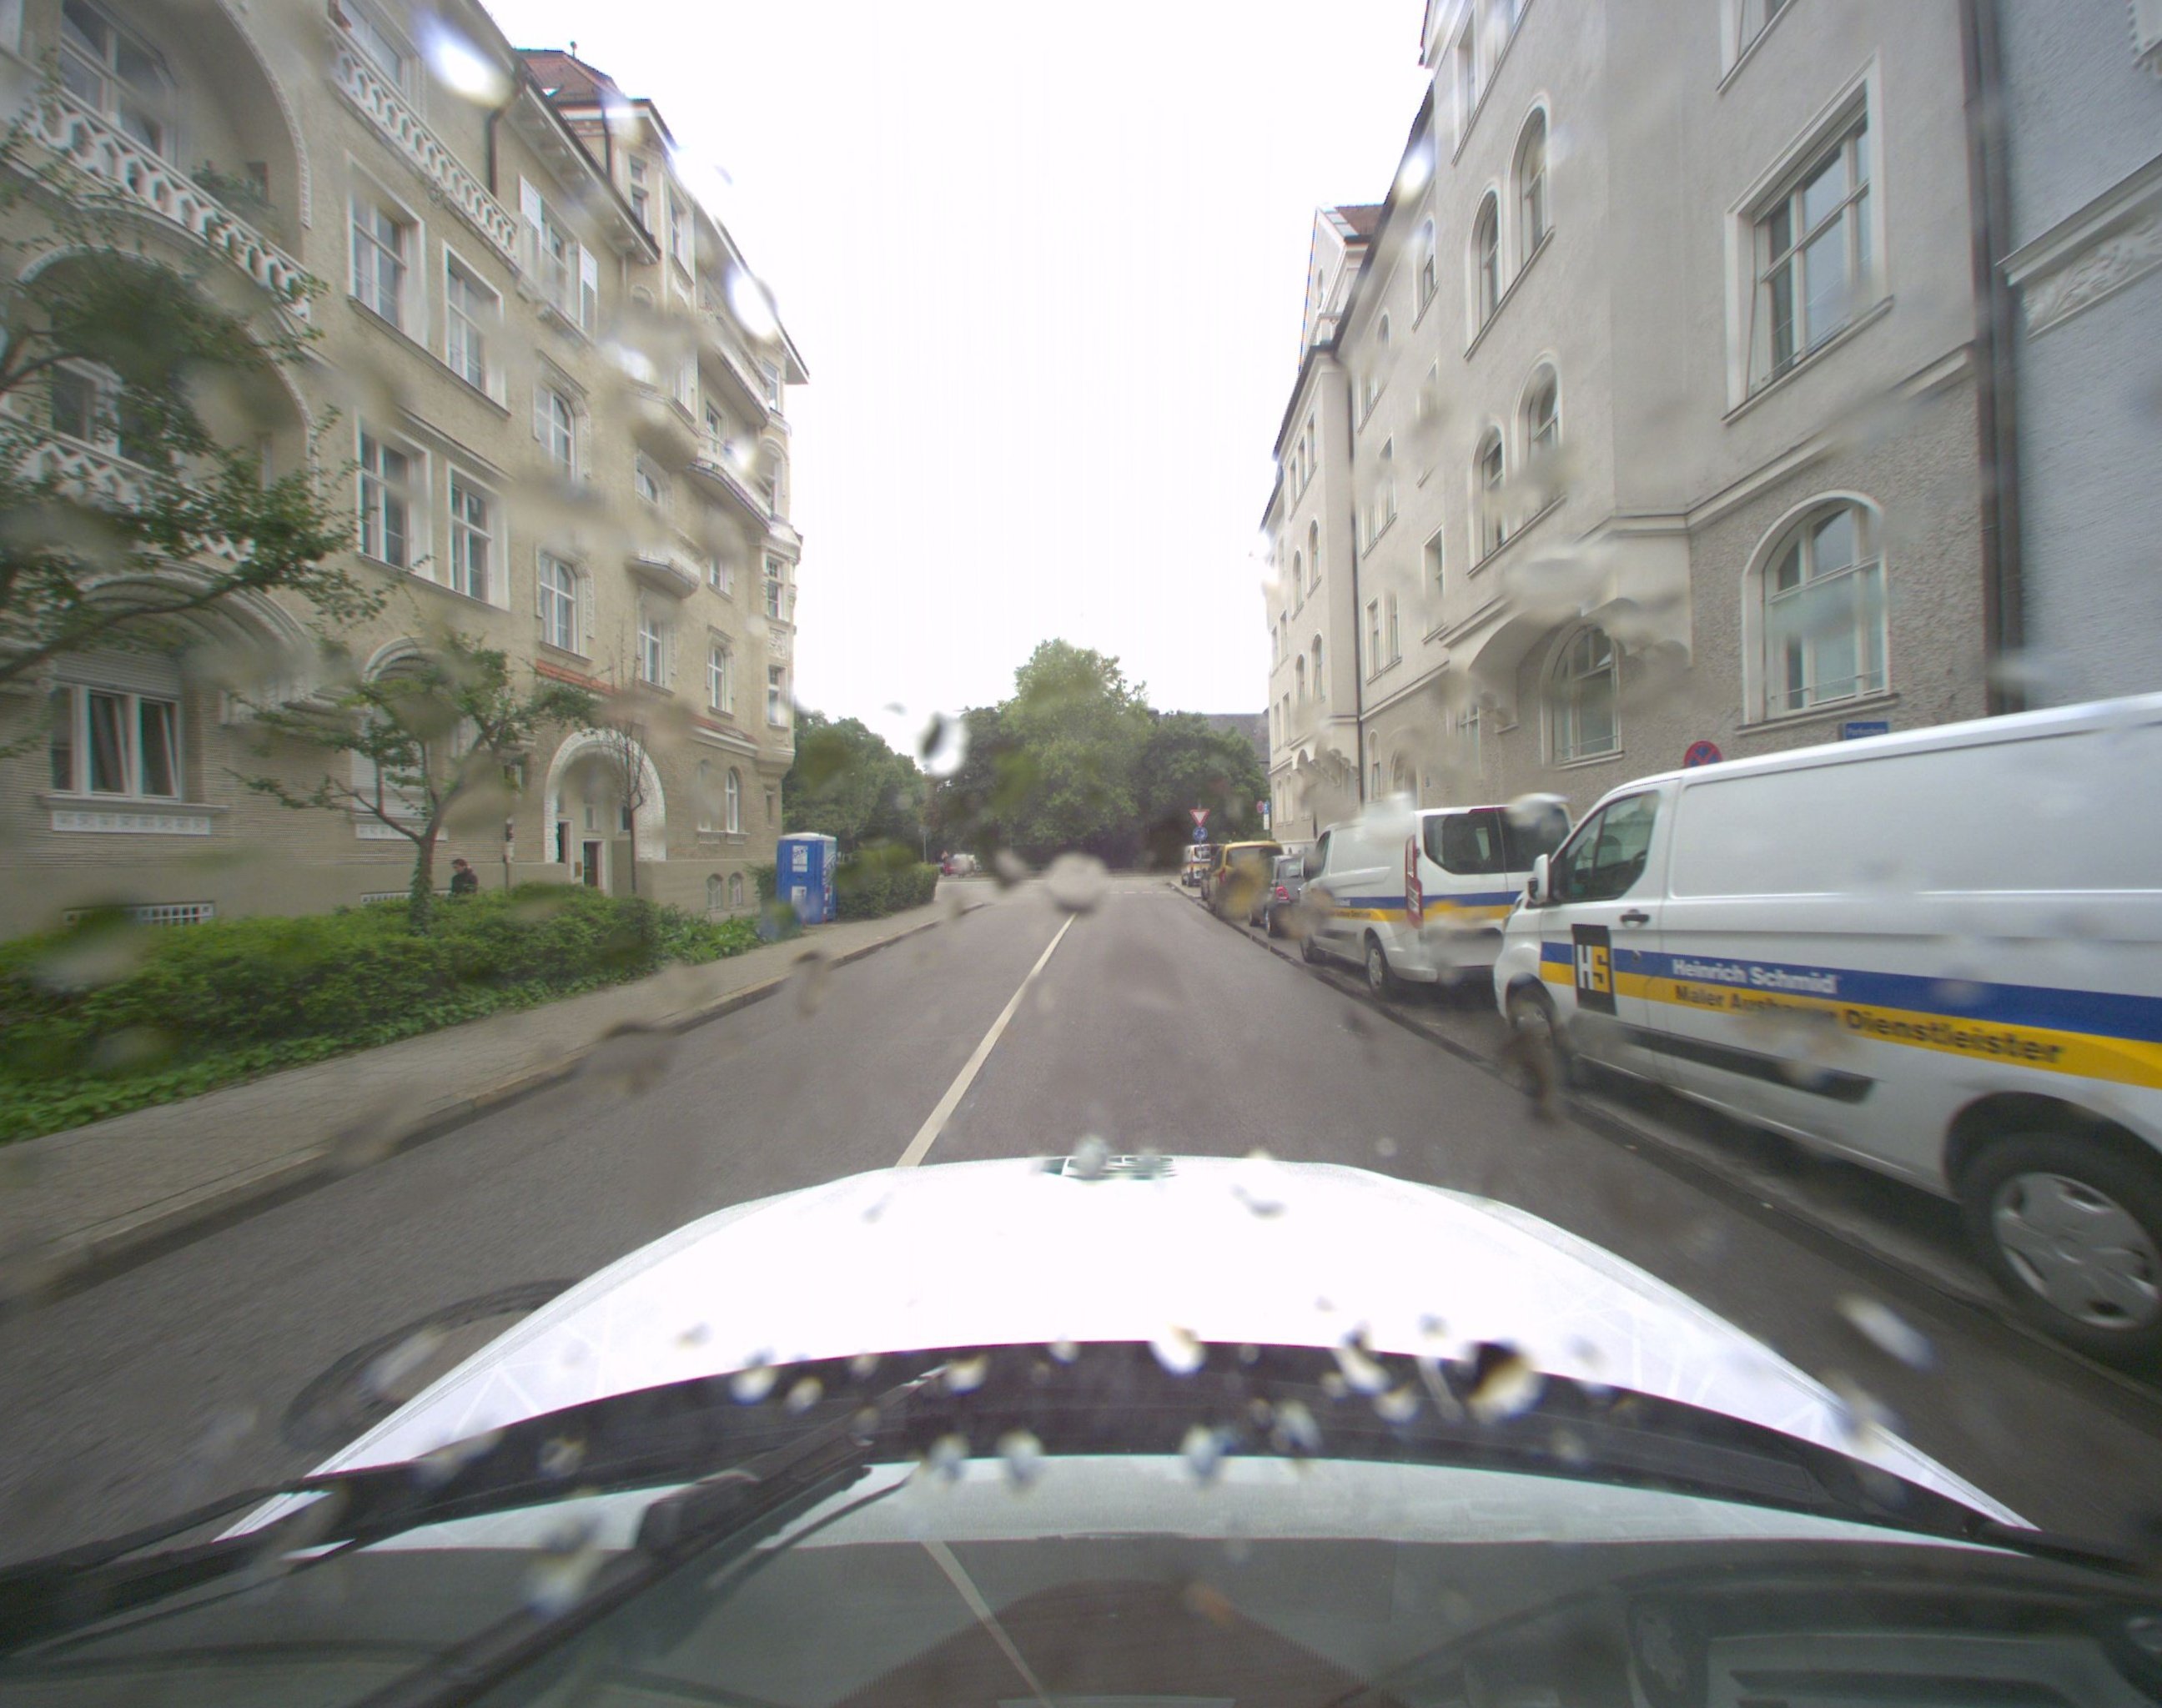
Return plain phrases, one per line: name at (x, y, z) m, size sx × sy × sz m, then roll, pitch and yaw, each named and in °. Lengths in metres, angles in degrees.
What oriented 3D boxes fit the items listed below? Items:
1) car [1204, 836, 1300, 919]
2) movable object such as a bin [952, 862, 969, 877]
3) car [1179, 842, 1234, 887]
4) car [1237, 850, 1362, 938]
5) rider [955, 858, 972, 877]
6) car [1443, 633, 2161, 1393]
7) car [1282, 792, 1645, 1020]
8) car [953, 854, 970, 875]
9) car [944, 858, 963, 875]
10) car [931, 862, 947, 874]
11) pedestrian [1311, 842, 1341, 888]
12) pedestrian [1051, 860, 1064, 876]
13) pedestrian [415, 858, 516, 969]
car at (4.276, 0.545, 21.097) m, size 1.841 × 1.853 × 4.827 m, roll -2°, pitch 0°, yaw 5°
movable object such as a bin at (-10.782, 1.410, 72.873) m, size 1.071 × 1.267 × 1.090 m, roll -4°, pitch -1°, yaw 10°
car at (5.909, 0.473, 38.949) m, size 1.909 × 1.962 × 4.928 m, roll -3°, pitch 0°, yaw 1°
car at (4.187, 0.710, 16.137) m, size 1.625 × 1.484 × 3.787 m, roll -2°, pitch 0°, yaw 3°
rider at (-10.637, 1.213, 73.757) m, size 1.075 × 1.667 × 1.142 m, roll -4°, pitch -1°, yaw 10°
car at (3.844, 0.404, 3.931) m, size 1.953 × 2.013 × 4.993 m, roll -2°, pitch 0°, yaw 0°
car at (3.973, 0.459, 9.647) m, size 1.953 × 1.937 × 4.993 m, roll -2°, pitch 0°, yaw 0°
car at (-15.869, 1.381, 108.111) m, size 2.040 × 2.558 × 5.234 m, roll -2°, pitch 0°, yaw -8°
car at (-14.392, 1.399, 92.433) m, size 2.040 × 1.922 × 4.433 m, roll -2°, pitch 0°, yaw -8°
car at (-18.354, 1.821, 105.415) m, size 1.787 × 1.492 × 3.989 m, roll -2°, pitch 0°, yaw -8°
pedestrian at (9.633, 0.431, 32.014) m, size 0.697 × 1.737 × 0.727 m, roll -2°, pitch -4°, yaw -43°
pedestrian at (-1.835, 1.096, 62.524) m, size 0.807 × 1.189 × 0.921 m, roll -2°, pitch 0°, yaw 8°
pedestrian at (-10.183, 0.950, 13.511) m, size 0.910 × 1.751 × 0.948 m, roll -2°, pitch -1°, yaw 1°
